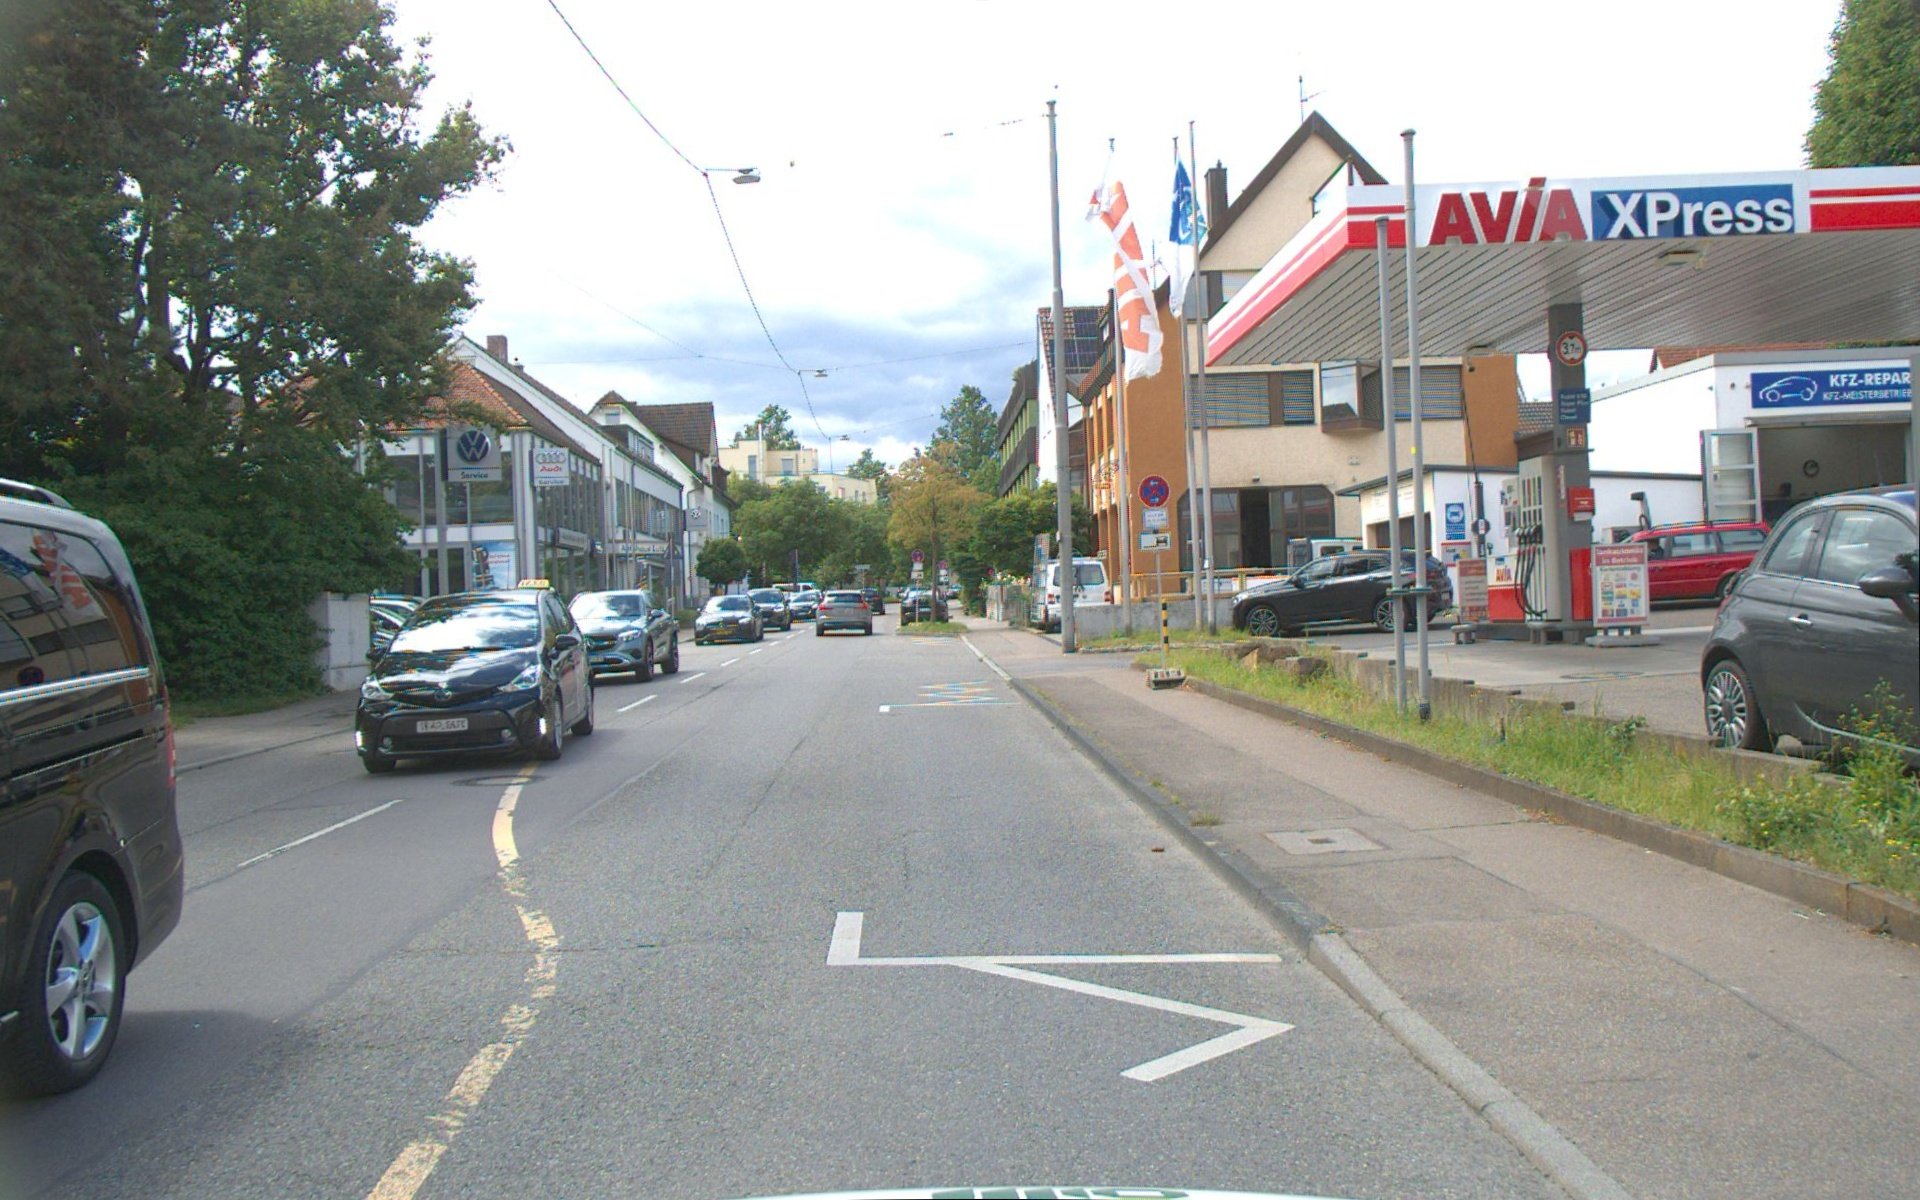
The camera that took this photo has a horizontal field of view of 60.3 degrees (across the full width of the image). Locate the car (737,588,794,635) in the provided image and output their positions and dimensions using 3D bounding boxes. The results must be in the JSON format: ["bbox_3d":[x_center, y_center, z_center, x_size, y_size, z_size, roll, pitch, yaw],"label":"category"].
[{"bbox_3d":[-7.455,0.410,63.657,1.794,1.658,4.319,-3,1,-3],"label":"car"}]

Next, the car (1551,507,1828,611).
[{"bbox_3d":[13.457,-0.716,30.802,4.497,1.747,1.826,-1,-1,18],"label":"car"}]

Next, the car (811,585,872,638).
[{"bbox_3d":[-3.919,0.419,55.059,1.917,1.550,4.325,-2,-2,-4],"label":"car"}]

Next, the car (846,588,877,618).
[{"bbox_3d":[-5.430,0.195,91.123,1.583,1.550,3.566,-3,0,-5],"label":"car"}]

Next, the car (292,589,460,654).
[{"bbox_3d":[-14.537,0.523,41.282,3.666,1.587,1.533,0,0,-4],"label":"car"}]

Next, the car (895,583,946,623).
[{"bbox_3d":[-1.643,0.126,67.566,1.944,1.473,4.749,-3,0,-2],"label":"car"}]

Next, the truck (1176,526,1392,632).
[{"bbox_3d":[8.249,-0.556,42.480,4.985,2.500,2.356,-2,1,-2],"label":"truck"}]

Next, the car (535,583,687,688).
[{"bbox_3d":[-6.316,0.587,30.450,1.828,1.646,4.534,-3,1,-1],"label":"car"}]

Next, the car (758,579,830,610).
[{"bbox_3d":[-13.005,-0.465,130.004,5.102,2.028,2.110,-4,0,16],"label":"car"}]

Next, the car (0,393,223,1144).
[{"bbox_3d":[-3.416,0.486,3.385,1.871,1.985,4.909,-3,1,-5],"label":"car"}]

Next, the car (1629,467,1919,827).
[{"bbox_3d":[5.125,0.123,8.465,1.583,1.622,4.160,-8,0,1],"label":"car"}]

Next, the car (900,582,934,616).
[{"bbox_3d":[-2.232,-0.041,86.979,1.655,1.695,4.461,-3,0,0],"label":"car"}]

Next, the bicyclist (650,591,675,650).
[{"bbox_3d":[-7.552,0.513,41.942,0.460,1.474,0.864,-4,0,-5],"label":"bicyclist"}]

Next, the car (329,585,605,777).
[{"bbox_3d":[-4.703,0.682,16.437,1.830,1.554,4.521,-3,0,-7],"label":"car"}]

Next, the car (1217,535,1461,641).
[{"bbox_3d":[7.330,-0.219,32.181,4.229,1.658,1.631,-5,1,34],"label":"car"}]

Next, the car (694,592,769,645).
[{"bbox_3d":[-6.966,0.538,50.830,1.705,1.454,4.522,-3,0,-2],"label":"car"}]

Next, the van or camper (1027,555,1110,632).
[{"bbox_3d":[3.068,-0.158,47.721,1.830,2.067,4.544,-1,-1,-3],"label":"van or camper"}]

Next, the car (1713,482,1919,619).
[{"bbox_3d":[11.998,-0.589,22.212,1.597,1.636,4.570,-2,-1,-1],"label":"car"}]

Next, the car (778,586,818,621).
[{"bbox_3d":[-7.808,0.169,80.184,1.795,1.550,4.166,-3,0,-5],"label":"car"}]

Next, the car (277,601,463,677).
[{"bbox_3d":[-13.701,0.888,38.569,3.666,1.544,1.728,-2,1,-4],"label":"car"}]

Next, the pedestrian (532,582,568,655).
[{"bbox_3d":[-10.083,0.460,40.710,0.669,1.767,0.868,-1,-1,-3],"label":"pedestrian"}]

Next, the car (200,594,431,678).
[{"bbox_3d":[-13.825,0.761,35.666,4.203,1.669,1.903,-1,1,-2],"label":"car"}]
